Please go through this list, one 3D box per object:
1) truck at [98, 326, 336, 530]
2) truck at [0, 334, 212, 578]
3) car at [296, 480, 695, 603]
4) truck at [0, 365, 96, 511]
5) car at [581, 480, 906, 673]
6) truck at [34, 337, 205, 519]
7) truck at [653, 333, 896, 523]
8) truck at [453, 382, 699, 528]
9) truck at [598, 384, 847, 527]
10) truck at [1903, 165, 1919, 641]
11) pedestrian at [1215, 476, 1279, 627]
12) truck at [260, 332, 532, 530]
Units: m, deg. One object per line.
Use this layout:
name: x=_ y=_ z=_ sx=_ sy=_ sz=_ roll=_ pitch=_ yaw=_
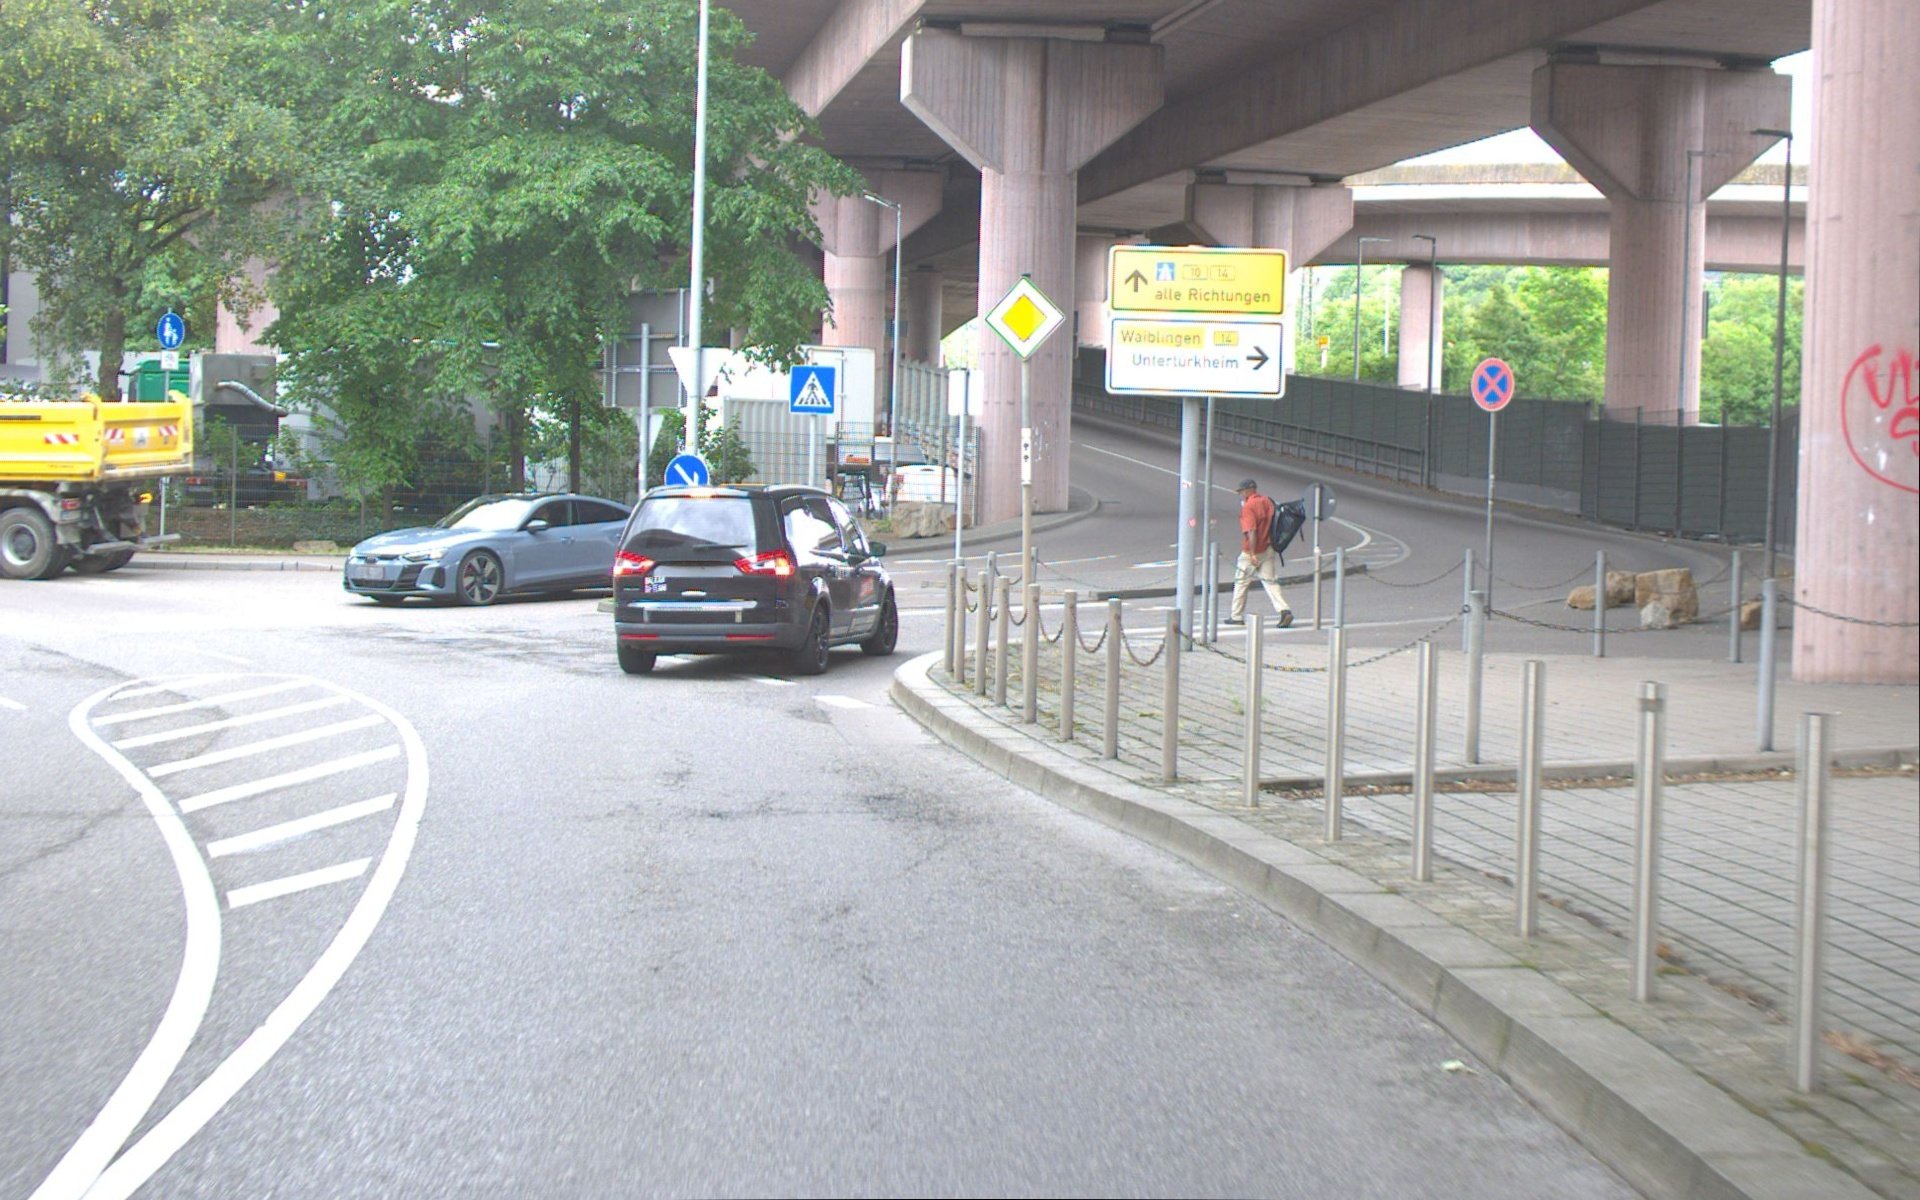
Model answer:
truck: x=-15.354 y=-3.551 z=70.665 sx=3.065 sy=3.949 sz=6.925 roll=-2 pitch=4 yaw=-26
truck: x=-15.680 y=-2.250 z=51.724 sx=8.225 sy=3.469 sz=2.935 roll=1 pitch=5 yaw=17
car: x=-5.959 y=-0.797 z=44.564 sx=2.172 sy=1.496 sz=4.921 roll=2 pitch=3 yaw=41
truck: x=-25.289 y=-4.324 z=89.998 sx=3.055 sy=3.606 sz=7.917 roll=-1 pitch=4 yaw=-30
car: x=-1.925 y=-0.282 z=32.168 sx=1.994 sy=1.673 sz=4.559 roll=0 pitch=2 yaw=10
truck: x=-23.060 y=-4.773 z=94.041 sx=3.202 sy=4.763 sz=8.051 roll=-1 pitch=4 yaw=-24
truck: x=-4.532 y=-4.153 z=81.901 sx=3.065 sy=4.284 sz=8.051 roll=-1 pitch=4 yaw=-24
truck: x=-8.242 y=-3.128 z=73.017 sx=2.915 sy=2.888 sz=6.560 roll=-1 pitch=4 yaw=-28
truck: x=-5.238 y=-3.187 z=74.663 sx=2.915 sy=2.888 sz=6.560 roll=-1 pitch=4 yaw=-28
truck: x=13.569 y=-2.026 z=38.114 sx=3.144 sy=4.900 sz=8.700 roll=2 pitch=2 yaw=35
pedestrian: x=3.233 y=-0.554 z=38.789 sx=0.536 sy=1.670 sz=0.558 roll=-1 pitch=3 yaw=-19
truck: x=-11.768 y=-3.568 z=71.059 sx=3.065 sy=3.854 sz=8.050 roll=-1 pitch=4 yaw=-28
